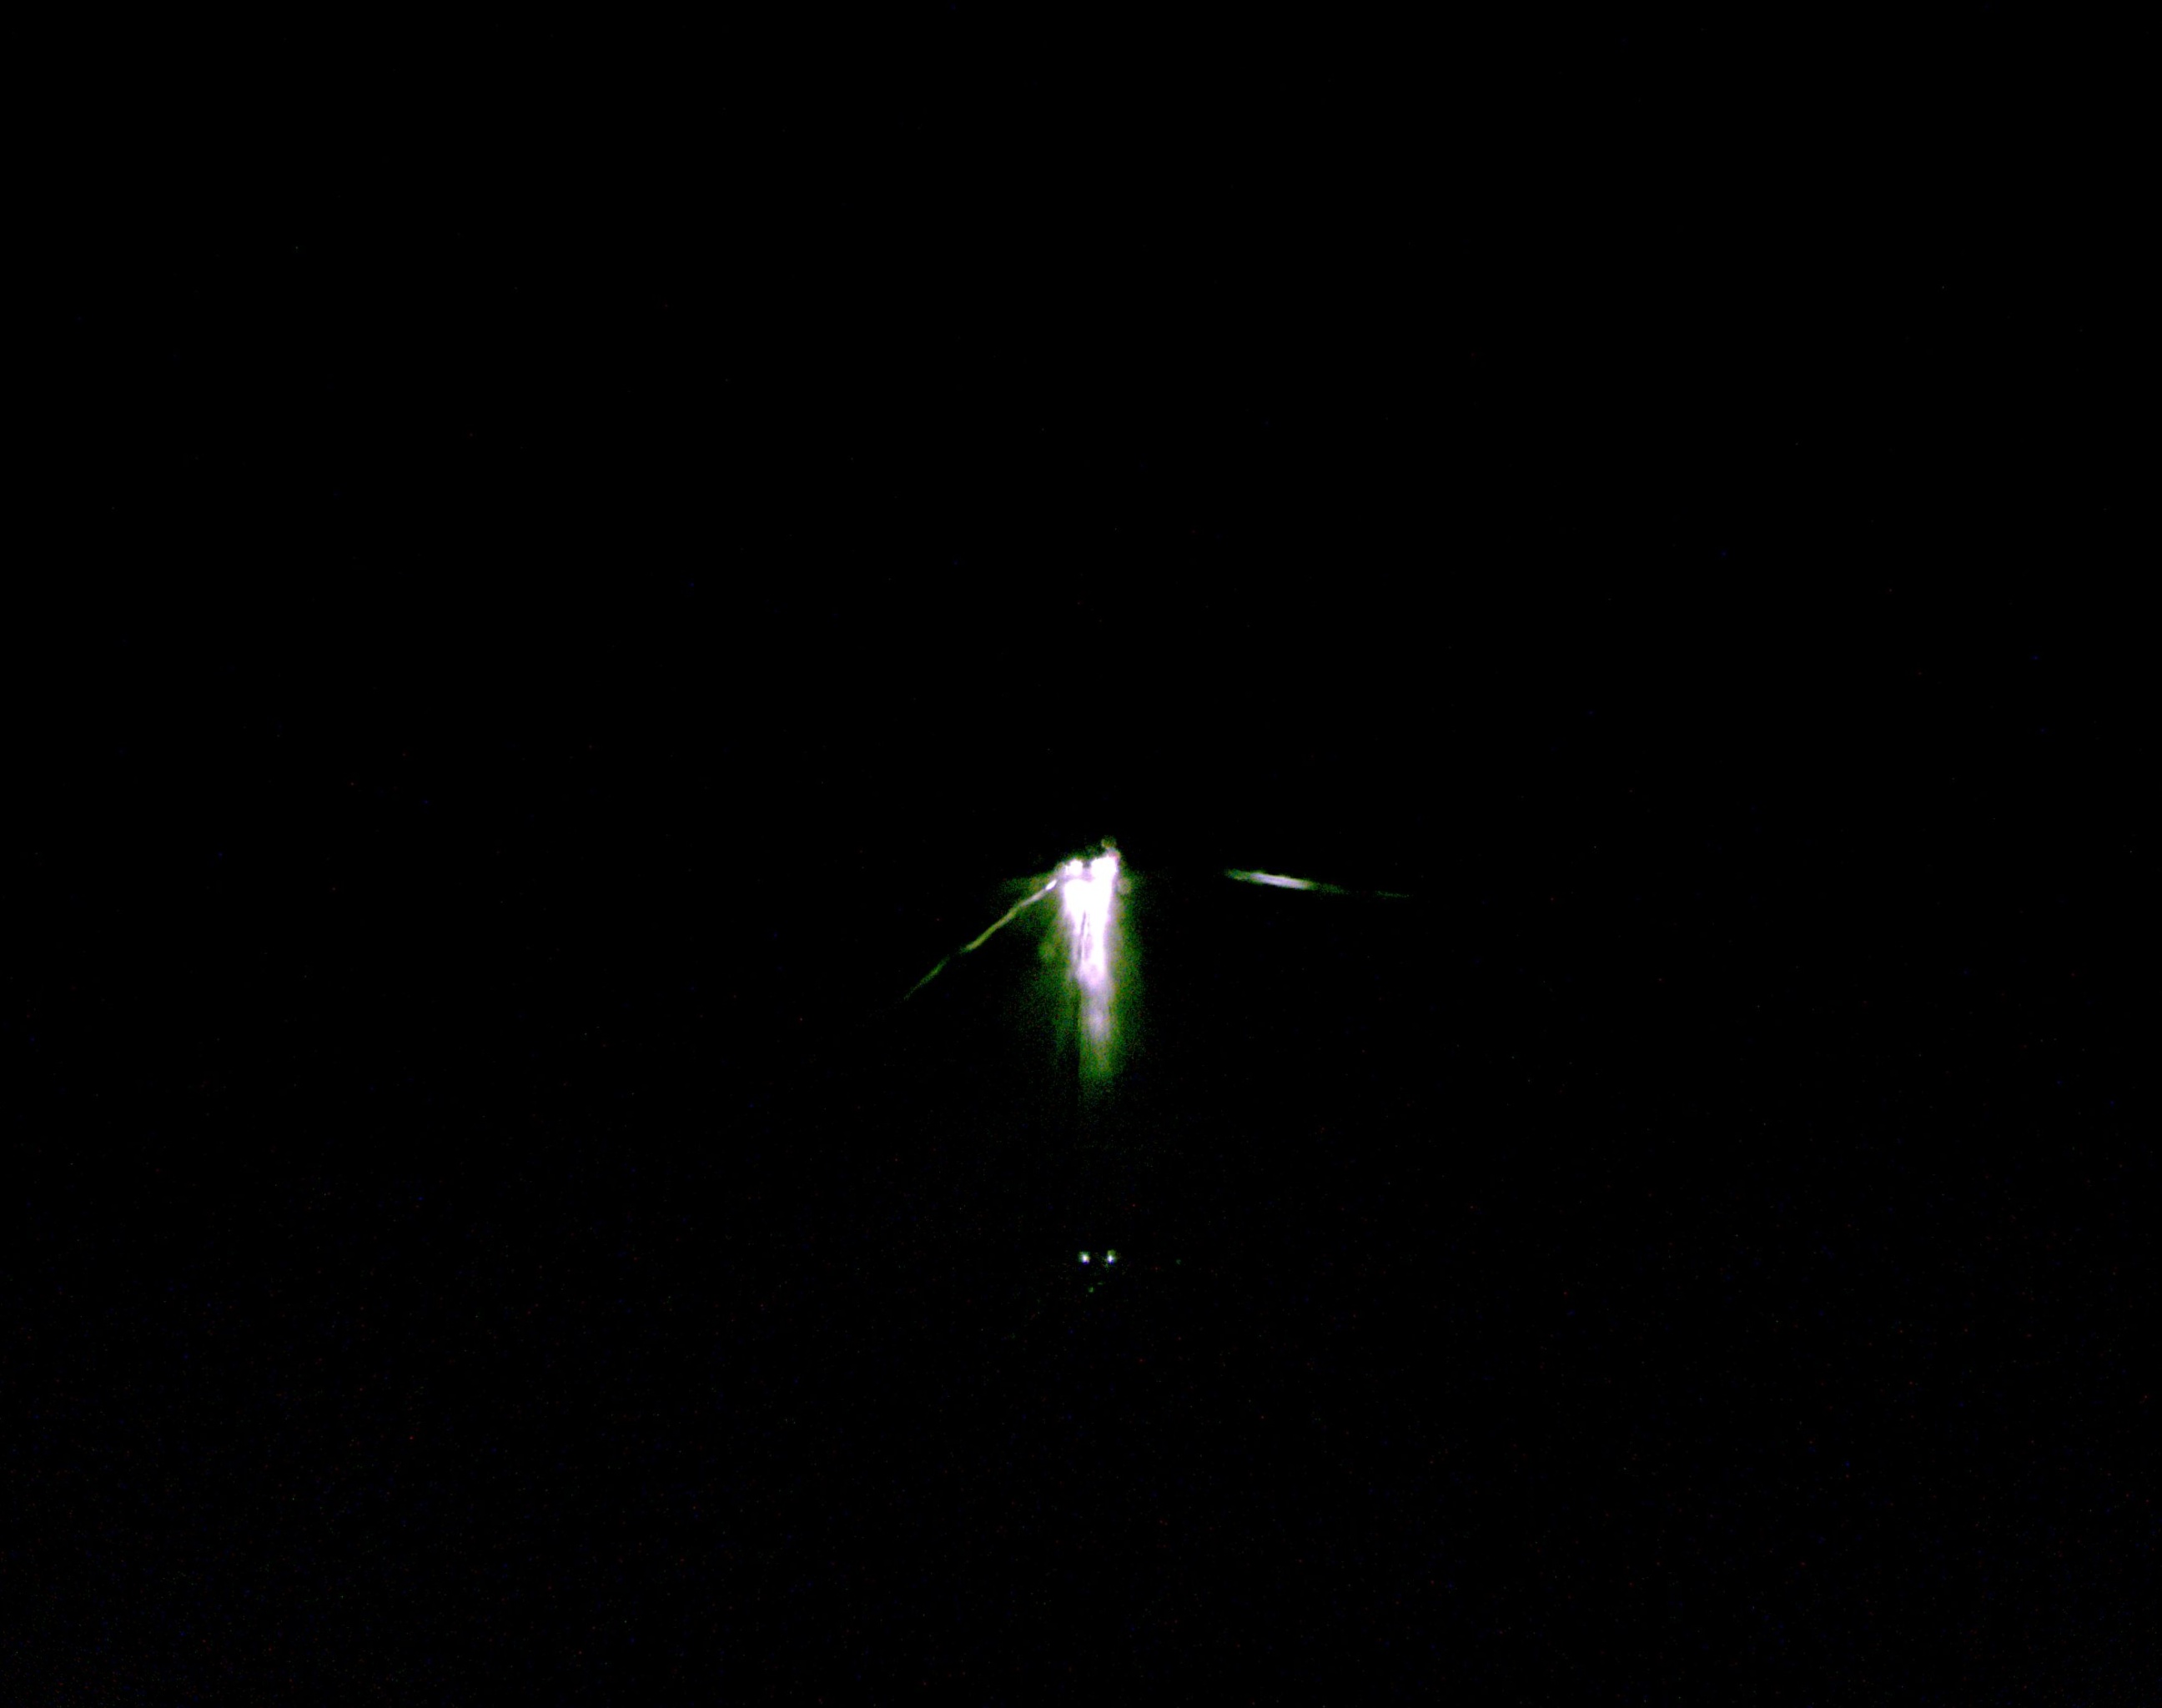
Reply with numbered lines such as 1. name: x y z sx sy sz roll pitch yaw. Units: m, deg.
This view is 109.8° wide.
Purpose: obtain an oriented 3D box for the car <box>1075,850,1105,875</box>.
1. car: 0.632 0.584 49.800 1.901 1.551 4.002 0 -2 2

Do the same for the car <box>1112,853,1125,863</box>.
1. car: 5.821 0.653 118.720 1.804 1.570 4.457 -1 -1 -1
